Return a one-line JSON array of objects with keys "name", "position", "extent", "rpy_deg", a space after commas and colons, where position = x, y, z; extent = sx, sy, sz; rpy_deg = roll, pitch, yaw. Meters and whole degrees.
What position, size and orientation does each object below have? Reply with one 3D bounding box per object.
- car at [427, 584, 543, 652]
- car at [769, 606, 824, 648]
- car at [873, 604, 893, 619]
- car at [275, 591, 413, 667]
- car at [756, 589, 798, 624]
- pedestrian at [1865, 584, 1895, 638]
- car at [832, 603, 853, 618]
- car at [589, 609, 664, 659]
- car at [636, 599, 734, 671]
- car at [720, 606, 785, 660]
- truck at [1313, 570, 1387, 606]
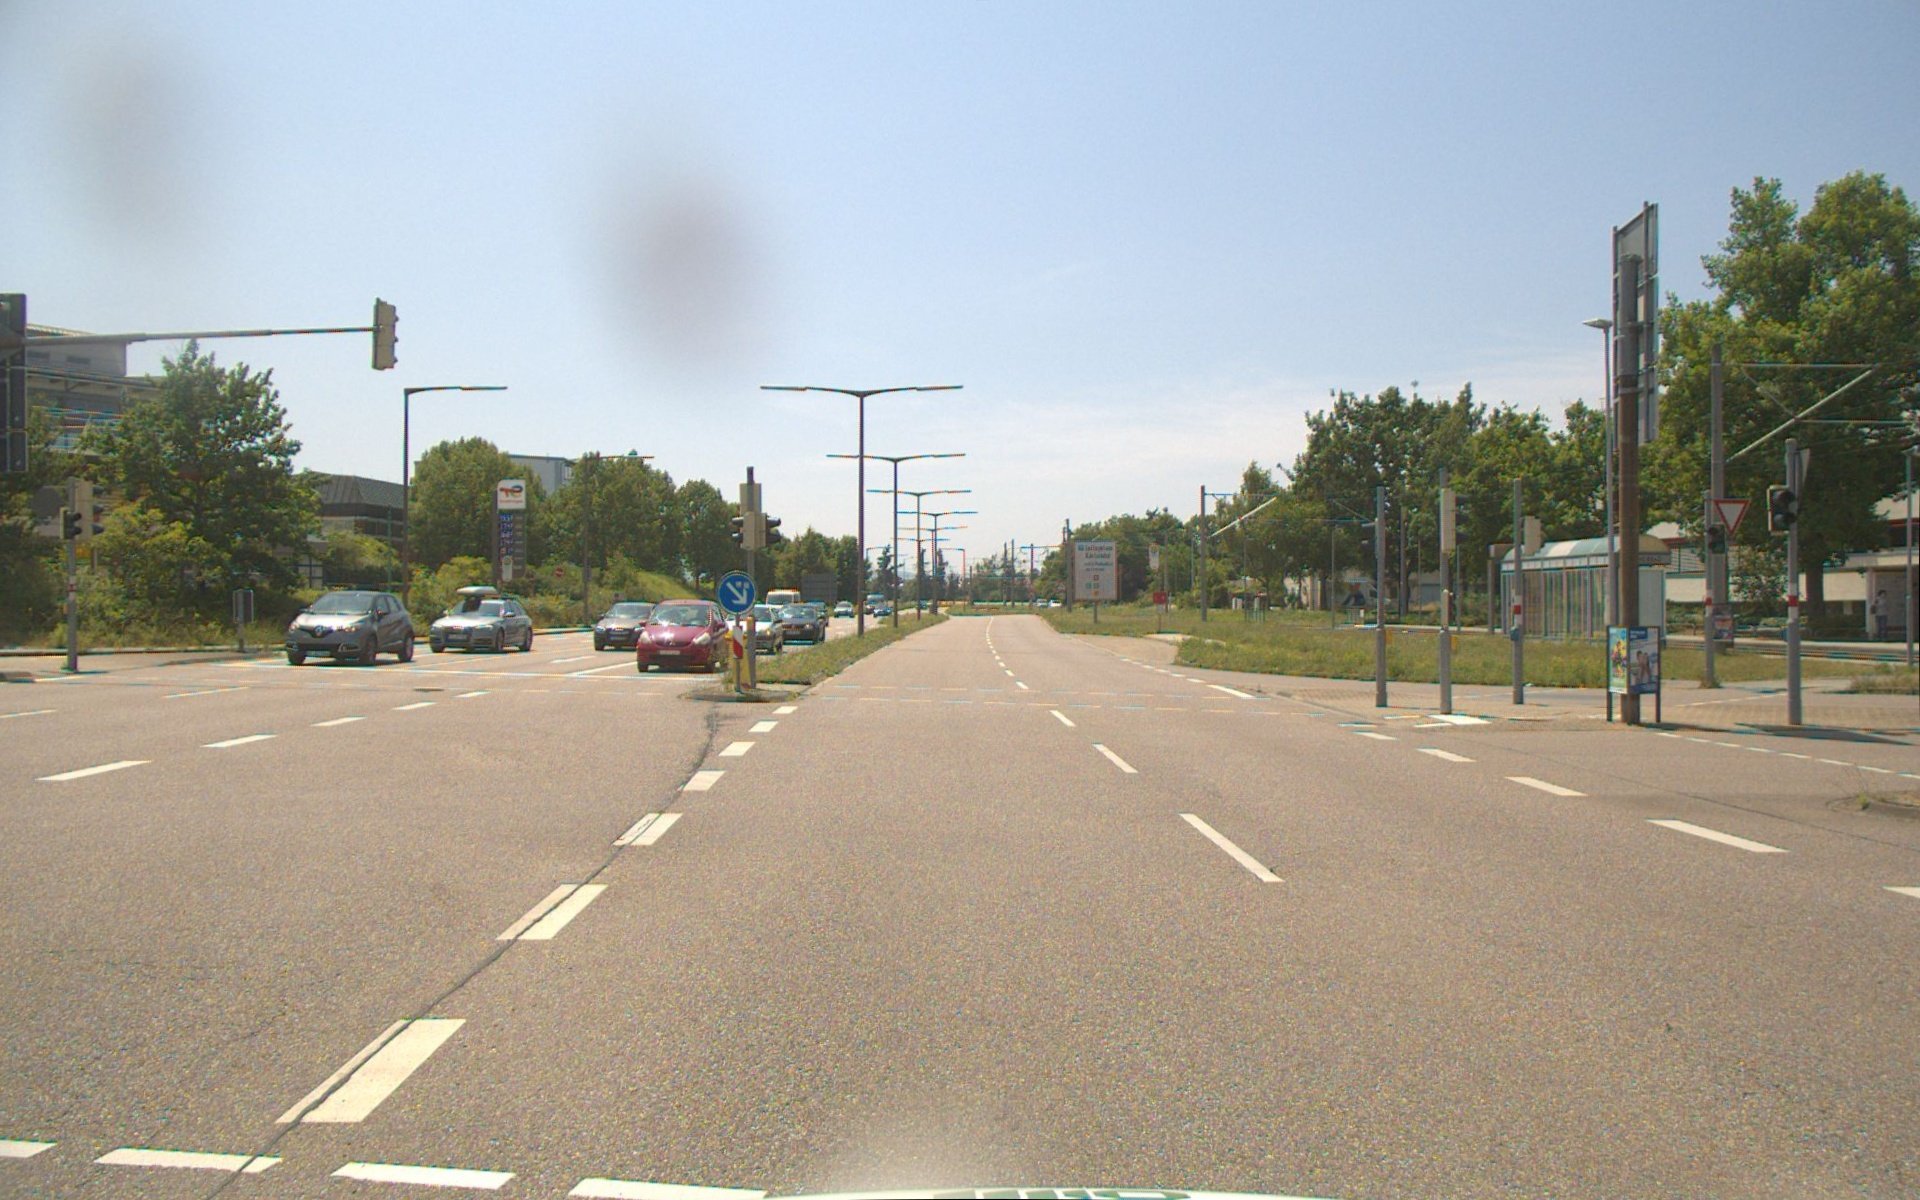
[{"name": "car", "position": [-13.166, 0.467, 46.158], "extent": [1.925, 1.780, 5.020], "rpy_deg": [0, 0, -2]}, {"name": "car", "position": [-5.917, 0.953, 60.235], "extent": [1.642, 1.459, 4.190], "rpy_deg": [1, 0, -1]}, {"name": "car", "position": [-7.933, 1.151, 170.420], "extent": [1.695, 1.483, 4.565], "rpy_deg": [0, 0, 1]}, {"name": "car", "position": [-13.475, 0.598, 36.403], "extent": [1.625, 1.566, 3.999], "rpy_deg": [1, 0, -2]}, {"name": "car", "position": [-12.587, 0.437, 114.199], "extent": [2.203, 2.313, 5.449], "rpy_deg": [1, 0, 1]}, {"name": "pedestrian", "position": [28.395, 0.350, 51.053], "extent": [0.540, 1.636, 0.690], "rpy_deg": [1, -1, 1]}, {"name": "car", "position": [-11.607, 1.044, 163.240], "extent": [1.794, 1.474, 4.850], "rpy_deg": [0, 0, -1]}, {"name": "car", "position": [-10.126, 1.014, 50.490], "extent": [1.564, 1.409, 4.002], "rpy_deg": [1, 0, -2]}, {"name": "car", "position": [-6.033, 0.728, 36.666], "extent": [1.625, 1.516, 3.999], "rpy_deg": [0, 0, -2]}, {"name": "car", "position": [-6.101, 0.943, 48.897], "extent": [1.529, 1.448, 3.853], "rpy_deg": [1, 0, -2]}, {"name": "truck", "position": [33.920, -1.053, 143.940], "extent": [5.730, 2.893, 2.316], "rpy_deg": [-2, -1, -8]}]
